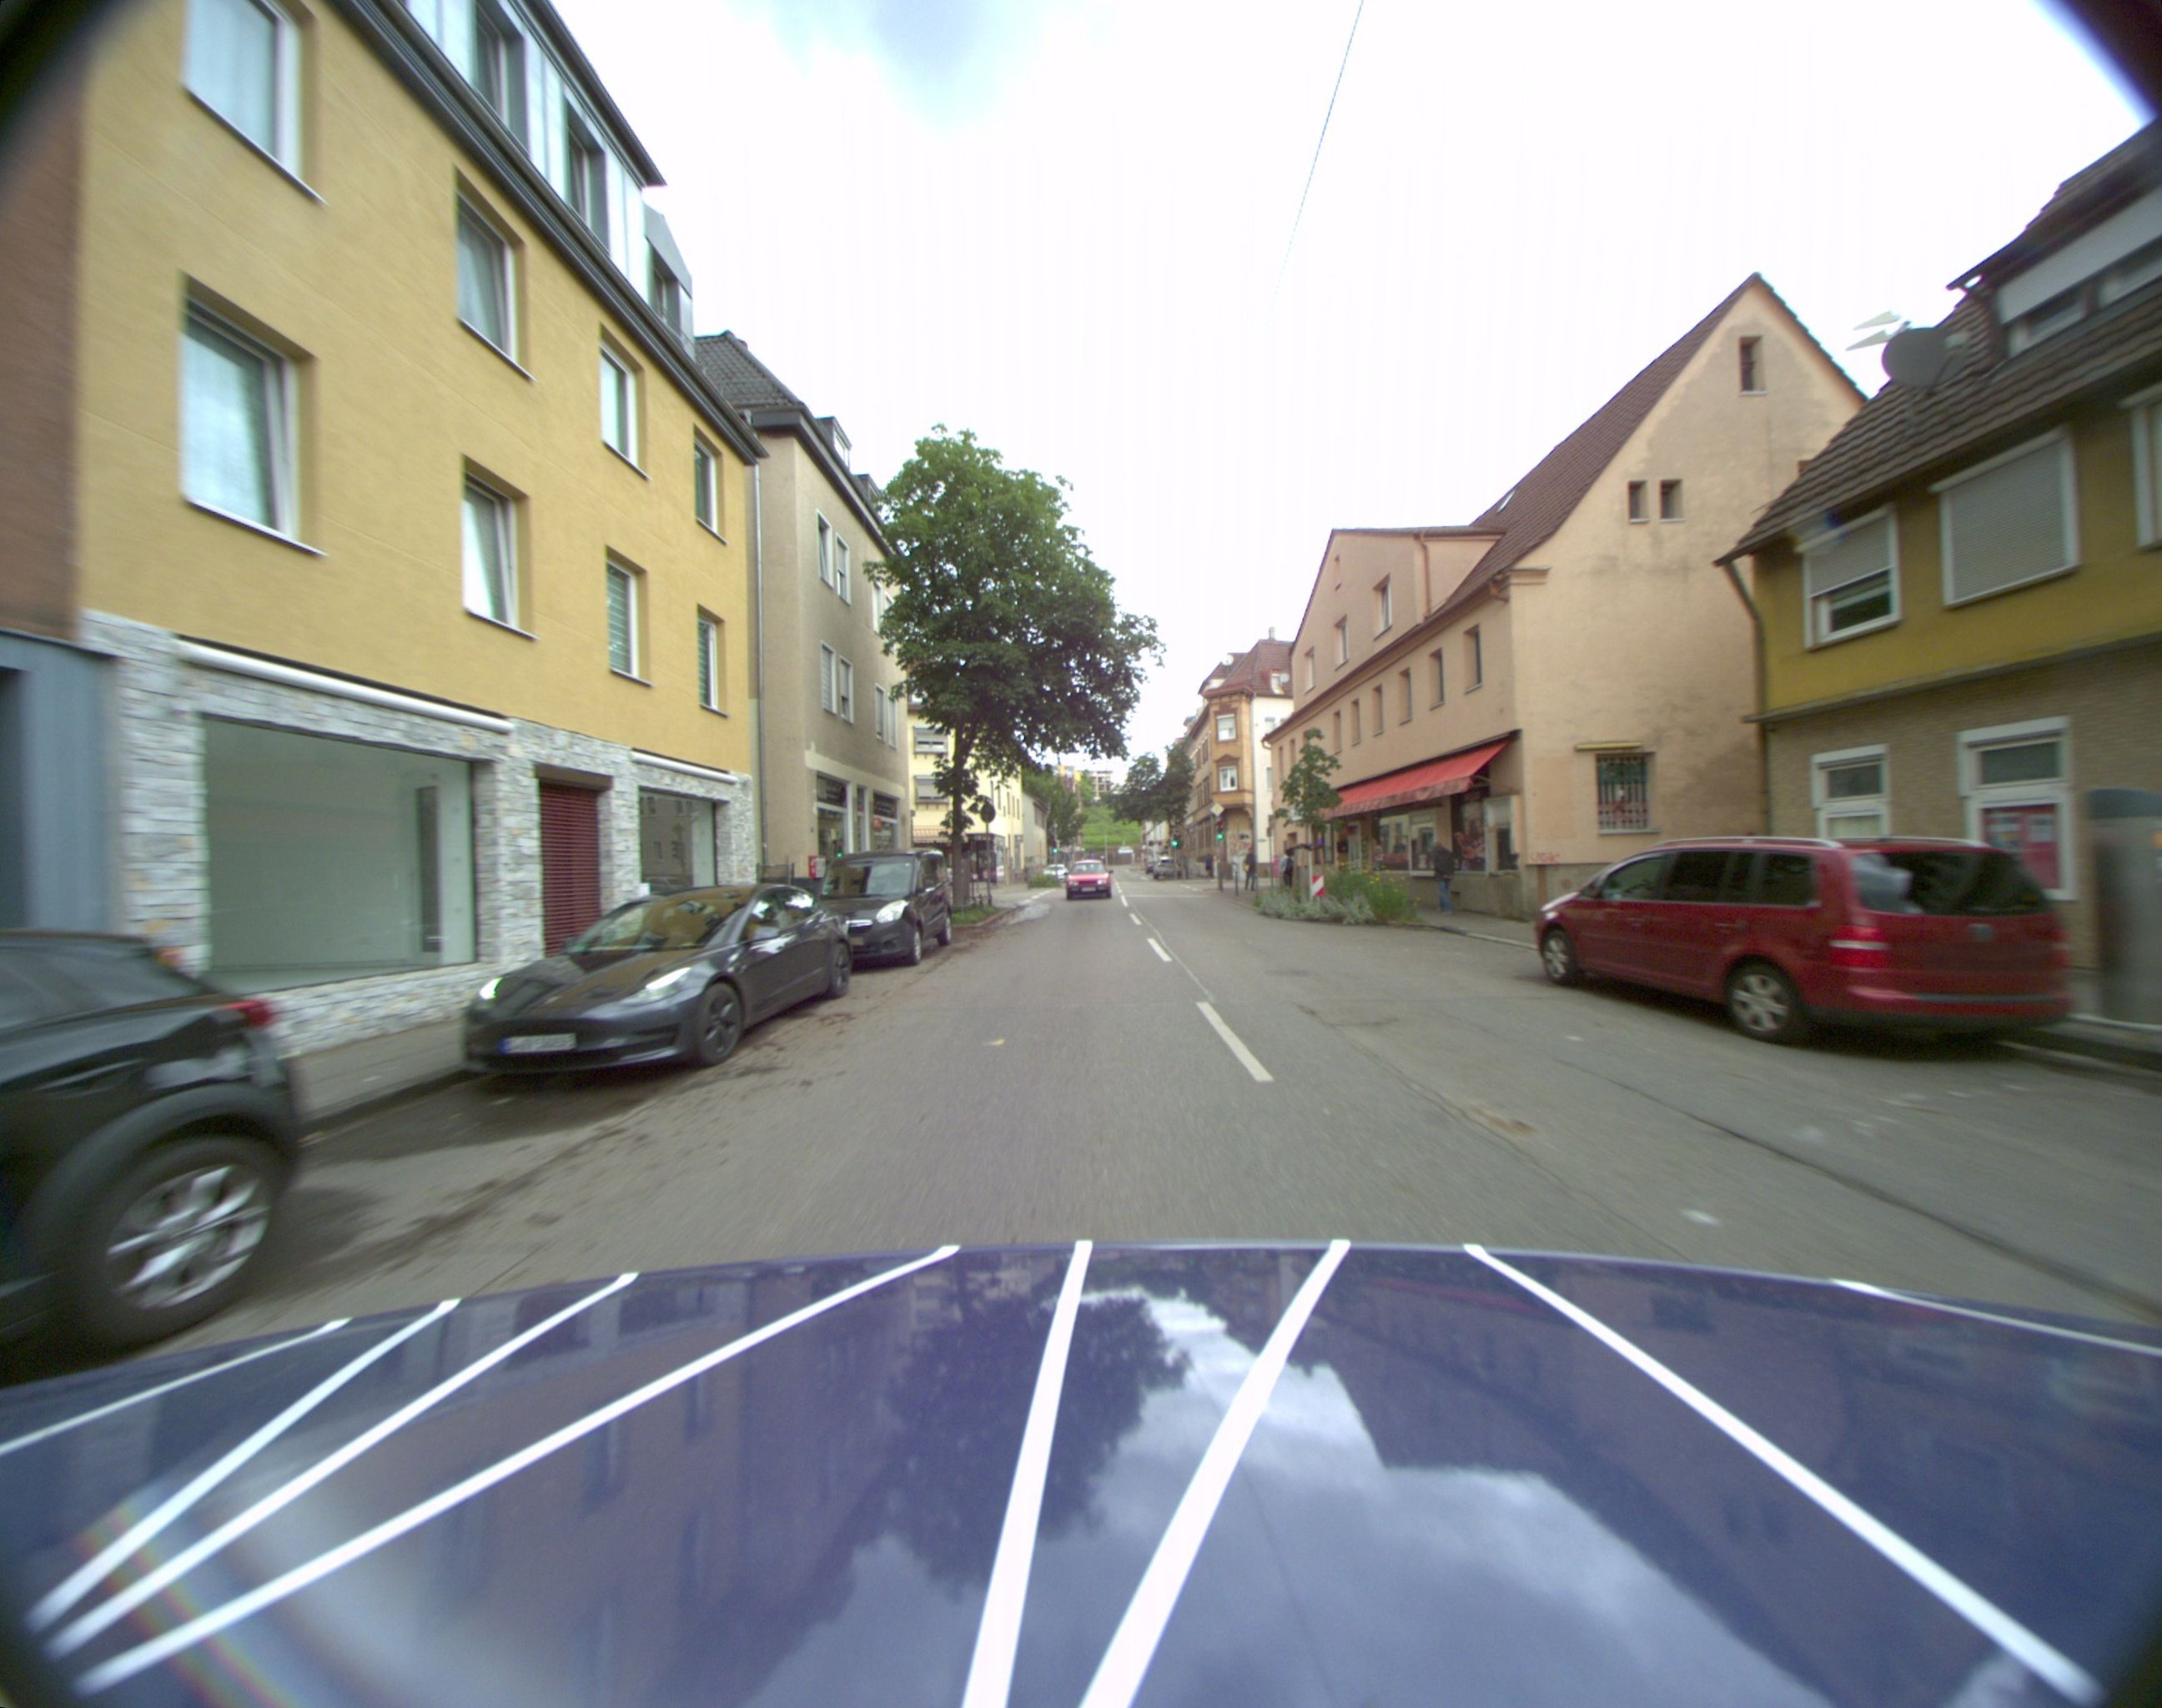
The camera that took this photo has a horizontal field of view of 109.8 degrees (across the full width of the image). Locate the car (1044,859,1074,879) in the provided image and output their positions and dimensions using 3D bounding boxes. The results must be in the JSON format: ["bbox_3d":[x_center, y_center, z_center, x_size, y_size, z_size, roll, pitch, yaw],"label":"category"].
[{"bbox_3d":[-1.746,1.191,61.612,1.771,1.457,4.785,-2,0,5],"label":"car"}]

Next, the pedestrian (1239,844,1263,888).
[{"bbox_3d":[6.979,0.500,31.254,0.740,1.744,0.983,-3,0,2],"label":"pedestrian"}]

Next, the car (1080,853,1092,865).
[{"bbox_3d":[0.886,0.830,131.905,1.998,1.970,4.878,-2,0,1],"label":"car"}]

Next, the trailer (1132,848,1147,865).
[{"bbox_3d":[9.854,0.472,128.208,2.450,2.787,6.305,-1,0,4],"label":"trailer"}]

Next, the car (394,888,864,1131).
[{"bbox_3d":[-3.714,1.162,7.411,1.755,1.397,4.511,-1,0,2],"label":"car"}]

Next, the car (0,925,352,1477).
[{"bbox_3d":[-3.959,1.107,1.180,1.606,1.509,4.208,-3,0,-2],"label":"car"}]

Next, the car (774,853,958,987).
[{"bbox_3d":[-3.344,0.922,12.781,1.824,1.771,4.402,-2,0,-1],"label":"car"}]

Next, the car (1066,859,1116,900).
[{"bbox_3d":[0.446,0.925,29.253,1.626,1.387,4.001,-2,0,4],"label":"car"}]

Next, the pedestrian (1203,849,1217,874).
[{"bbox_3d":[8.925,0.532,52.595,0.740,1.708,1.156,-3,0,-1],"label":"pedestrian"}]

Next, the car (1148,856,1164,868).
[{"bbox_3d":[8.413,0.896,85.989,1.582,1.374,4.355,0,0,3],"label":"car"}]

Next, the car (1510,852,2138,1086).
[{"bbox_3d":[6.225,0.786,7.308,1.707,1.564,4.451,0,0,0],"label":"car"}]

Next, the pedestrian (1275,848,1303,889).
[{"bbox_3d":[7.952,0.550,29.039,0.740,1.526,0.982,-3,0,0],"label":"pedestrian"}]

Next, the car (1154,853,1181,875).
[{"bbox_3d":[6.927,0.773,61.258,1.895,1.702,4.742,0,0,2],"label":"car"}]

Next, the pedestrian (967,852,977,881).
[{"bbox_3d":[-6.576,0.747,45.949,0.397,1.764,0.386,-4,1,-32],"label":"pedestrian"}]

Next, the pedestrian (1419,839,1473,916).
[{"bbox_3d":[8.085,0.499,16.850,0.732,1.619,0.758,-4,2,-3],"label":"pedestrian"}]
